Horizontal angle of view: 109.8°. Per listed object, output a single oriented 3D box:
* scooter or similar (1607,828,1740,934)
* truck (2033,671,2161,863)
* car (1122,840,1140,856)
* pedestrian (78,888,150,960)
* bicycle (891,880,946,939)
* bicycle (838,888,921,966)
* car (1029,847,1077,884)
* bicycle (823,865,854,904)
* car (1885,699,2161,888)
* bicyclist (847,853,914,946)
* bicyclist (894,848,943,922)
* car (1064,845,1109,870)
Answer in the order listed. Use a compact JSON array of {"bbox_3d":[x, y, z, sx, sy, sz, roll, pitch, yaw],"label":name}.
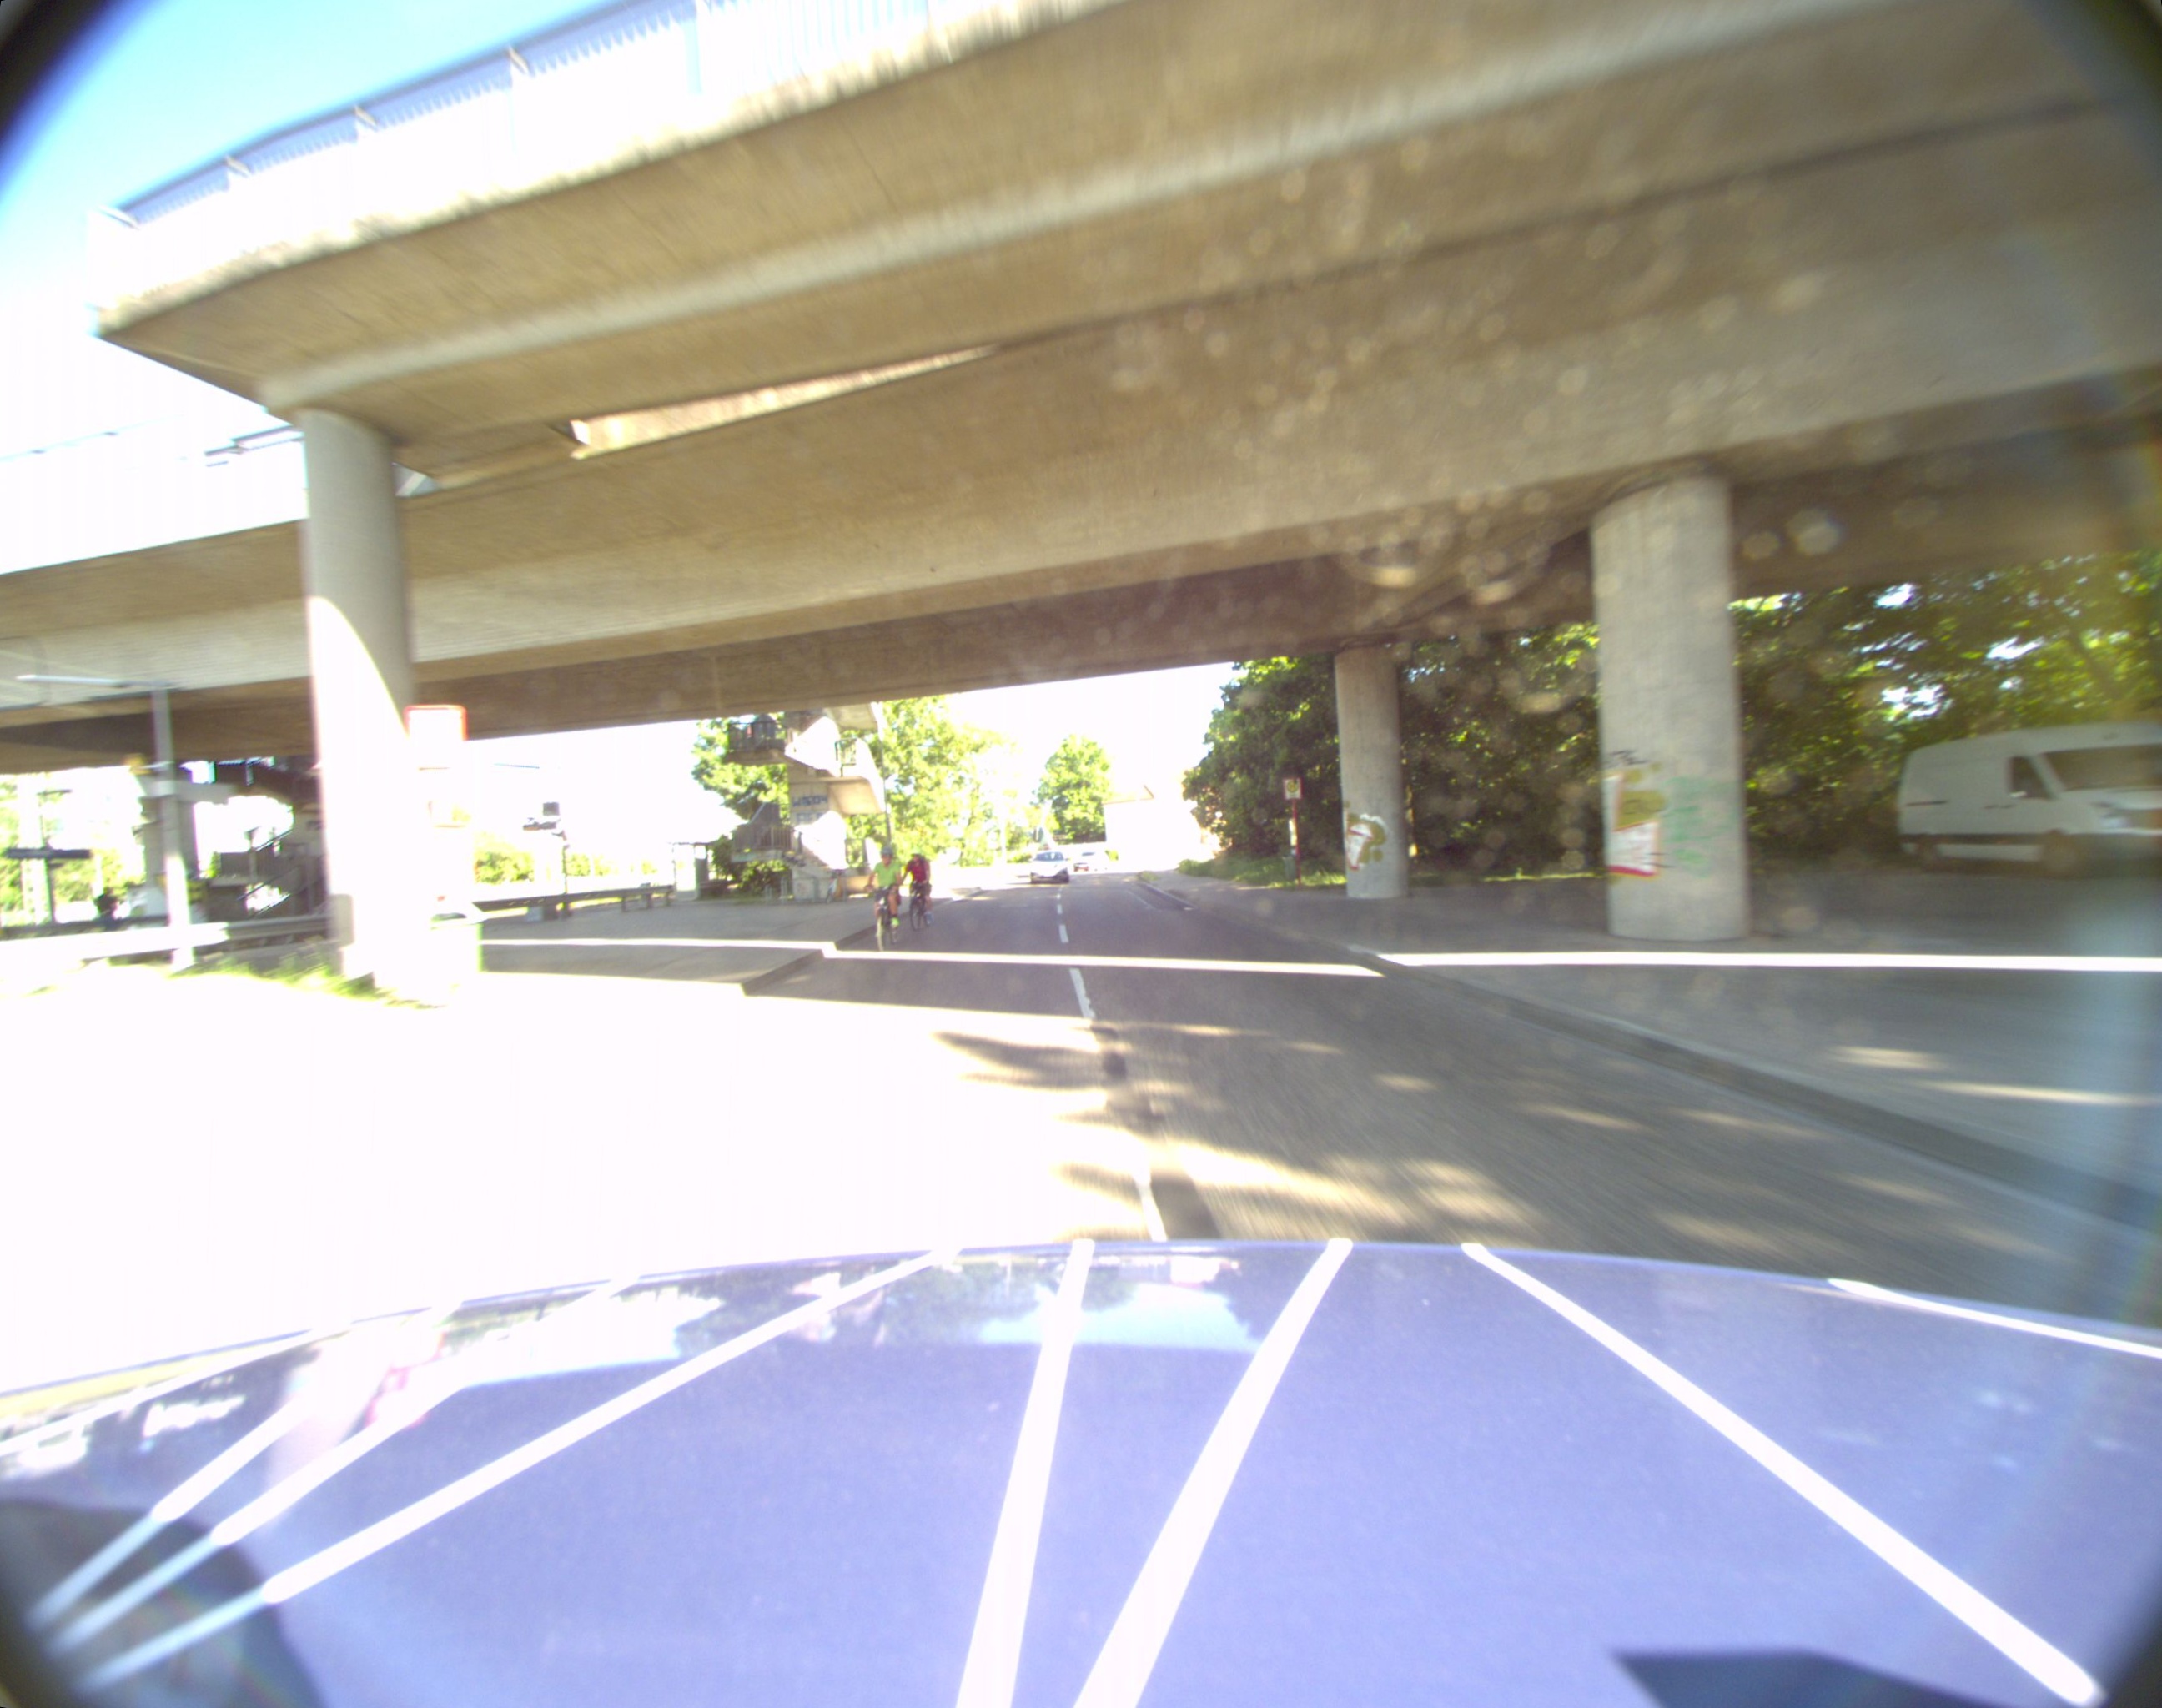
[{"bbox_3d":[7.751,0.351,9.989,1.305,1.293,0.580,-3,1,36],"label":"scooter or similar"},{"bbox_3d":[21.296,-1.670,13.785,2.476,3.531,7.981,-3,1,32],"label":"truck"},{"bbox_3d":[5.952,-0.731,90.710,1.998,1.767,4.365,-3,1,2],"label":"car"},{"bbox_3d":[-28.893,2.075,22.723,0.895,2.002,0.835,-3,1,-6],"label":"pedestrian"},{"bbox_3d":[-3.430,1.142,16.237,0.843,1.045,2.188,-3,1,-6],"label":"bicycle"},{"bbox_3d":[-3.336,1.177,12.819,0.843,1.045,2.189,-3,1,-2],"label":"bicycle"},{"bbox_3d":[-1.325,0.519,37.830,1.849,1.621,4.296,-3,1,4],"label":"car"},{"bbox_3d":[-8.072,1.002,25.386,0.599,1.175,2.179,-3,1,-9],"label":"bicycle"},{"bbox_3d":[17.031,-0.927,13.333,1.942,2.665,6.019,-3,0,26],"label":"car"},{"bbox_3d":[-3.361,0.738,12.827,0.843,1.480,0.923,-3,1,-2],"label":"bicyclist"},{"bbox_3d":[-3.455,0.638,16.219,0.843,1.480,0.923,-3,1,-6],"label":"bicyclist"},{"bbox_3d":[0.421,0.226,54.754,1.848,1.621,4.300,-3,1,19],"label":"car"}]
